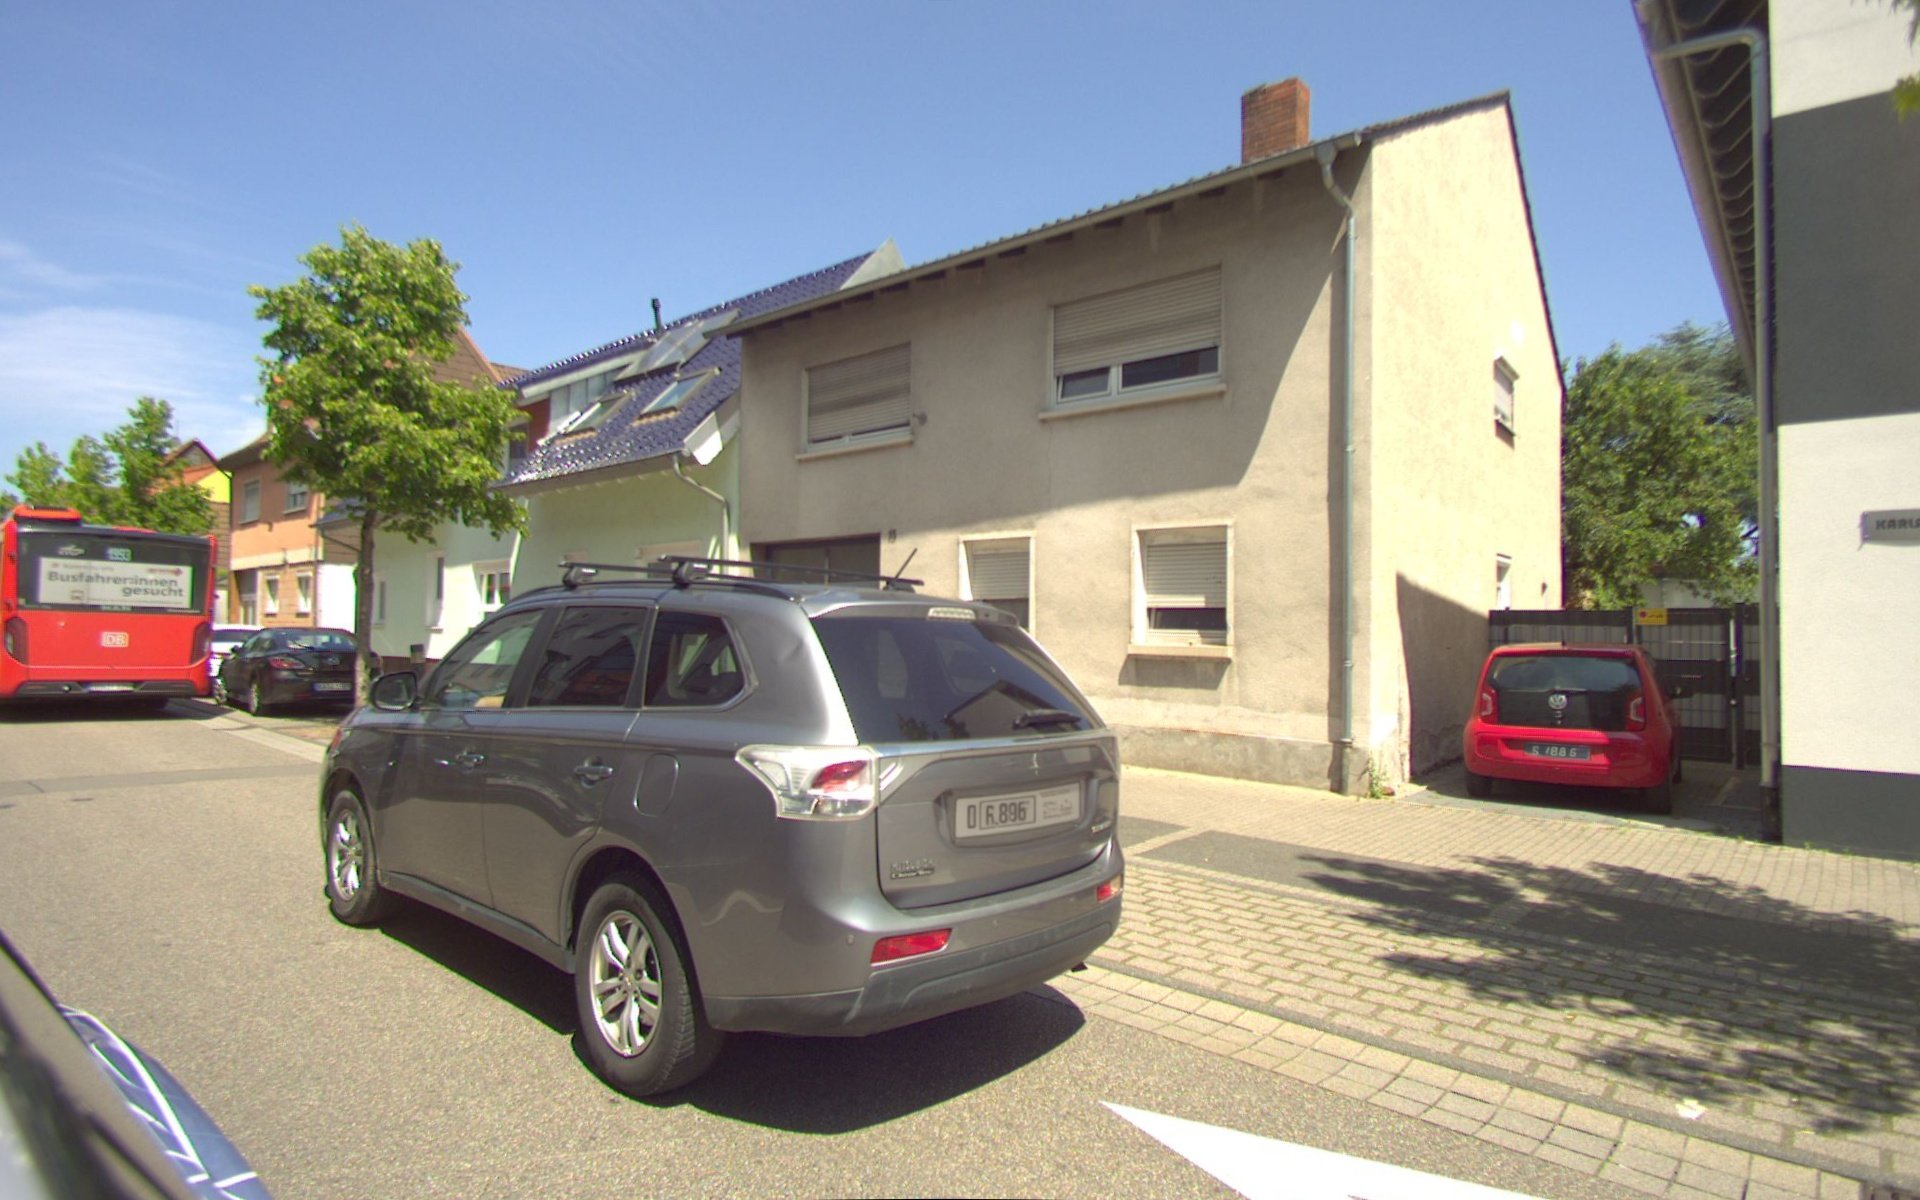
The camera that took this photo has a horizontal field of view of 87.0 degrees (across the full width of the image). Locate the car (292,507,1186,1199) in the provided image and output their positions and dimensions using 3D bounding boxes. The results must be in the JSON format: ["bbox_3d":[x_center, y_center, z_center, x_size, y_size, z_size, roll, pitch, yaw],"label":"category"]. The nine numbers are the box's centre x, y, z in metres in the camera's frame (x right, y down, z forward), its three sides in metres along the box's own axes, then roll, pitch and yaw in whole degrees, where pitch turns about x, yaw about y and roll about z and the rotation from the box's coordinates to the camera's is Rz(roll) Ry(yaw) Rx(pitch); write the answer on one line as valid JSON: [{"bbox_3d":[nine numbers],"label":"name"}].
[{"bbox_3d":[-1.301,0.695,4.460,4.230,1.729,1.657,-1,-3,41],"label":"car"}]

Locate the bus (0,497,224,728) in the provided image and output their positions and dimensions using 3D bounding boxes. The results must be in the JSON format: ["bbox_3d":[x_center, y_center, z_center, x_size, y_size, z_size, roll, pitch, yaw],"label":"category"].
[{"bbox_3d":[-18.921,0.356,20.695,17.804,3.147,2.640,-1,-4,43],"label":"bus"}]

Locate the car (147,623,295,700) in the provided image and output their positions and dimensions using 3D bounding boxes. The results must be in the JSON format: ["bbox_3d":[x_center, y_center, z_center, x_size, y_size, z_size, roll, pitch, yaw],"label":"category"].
[{"bbox_3d":[-15.577,1.209,21.241,4.460,1.448,1.701,-1,-2,43],"label":"car"}]

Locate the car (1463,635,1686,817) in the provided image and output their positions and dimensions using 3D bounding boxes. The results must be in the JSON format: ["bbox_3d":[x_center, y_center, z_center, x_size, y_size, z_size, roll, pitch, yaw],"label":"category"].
[{"bbox_3d":[6.115,1.094,9.932,1.584,1.454,3.085,-1,-3,37],"label":"car"}]

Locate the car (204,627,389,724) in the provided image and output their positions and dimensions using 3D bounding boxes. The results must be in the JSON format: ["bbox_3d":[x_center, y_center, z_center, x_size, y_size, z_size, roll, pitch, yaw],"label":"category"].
[{"bbox_3d":[-11.601,1.216,17.554,4.539,1.448,1.642,-1,-3,43],"label":"car"}]
